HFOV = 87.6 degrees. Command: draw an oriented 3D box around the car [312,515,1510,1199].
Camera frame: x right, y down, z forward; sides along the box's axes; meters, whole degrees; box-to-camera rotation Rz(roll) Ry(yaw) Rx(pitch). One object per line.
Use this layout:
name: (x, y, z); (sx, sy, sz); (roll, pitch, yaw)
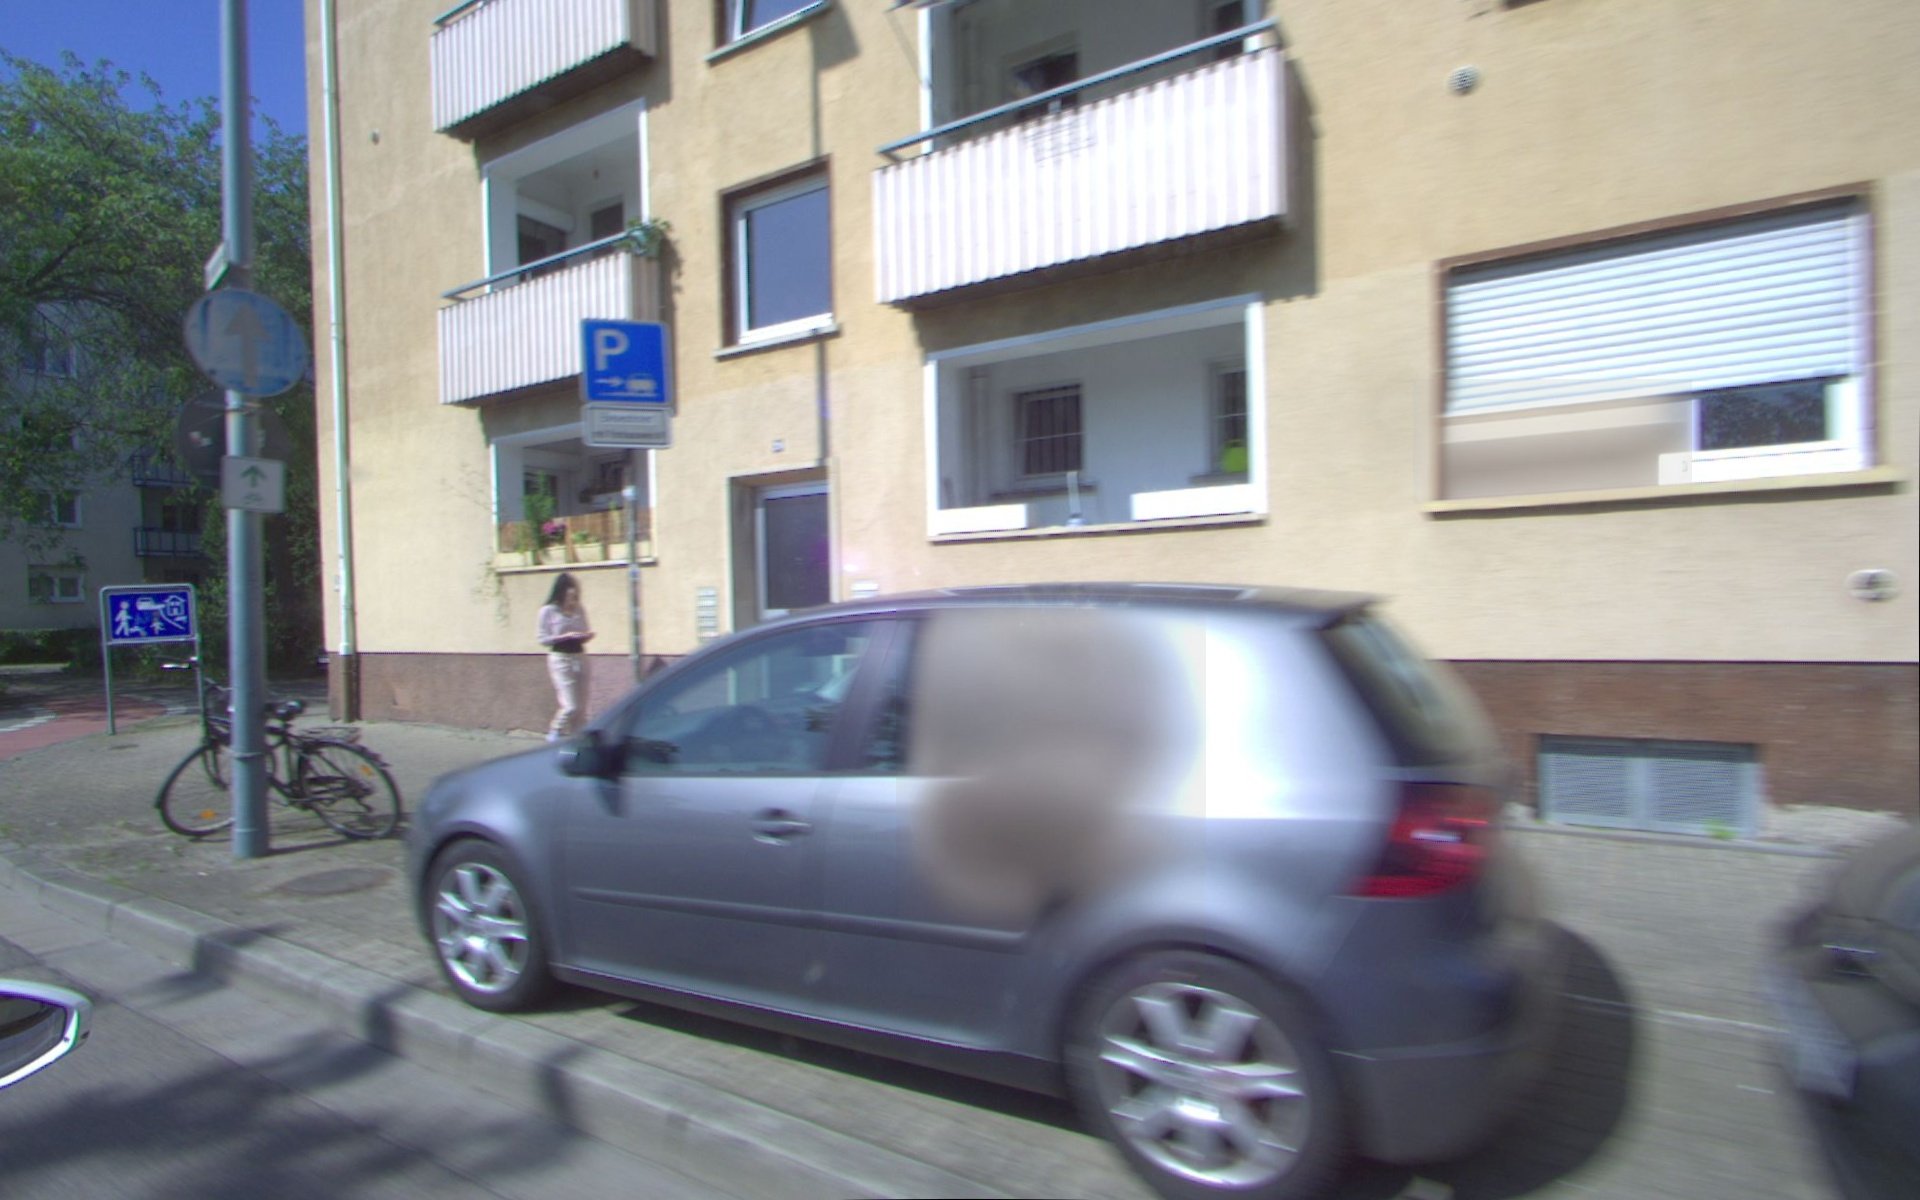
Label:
car: (-0.317, 0.629, 3.647); (4.028, 1.534, 1.701); (-1, 0, 28)

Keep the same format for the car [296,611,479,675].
car: (-15.199, 1.099, 26.811); (1.810, 1.568, 3.961); (-1, -1, 23)

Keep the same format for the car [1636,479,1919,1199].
car: (3.365, 0.557, 1.108); (4.192, 1.481, 1.708); (-1, 0, 30)

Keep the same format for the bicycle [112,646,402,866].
bicycle: (-4.277, 0.872, 6.078); (1.717, 1.138, 0.702); (-1, 0, 27)

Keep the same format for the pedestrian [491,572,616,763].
pedestrian: (-3.645, 0.572, 8.994); (0.812, 1.631, 0.653); (0, 2, 33)
